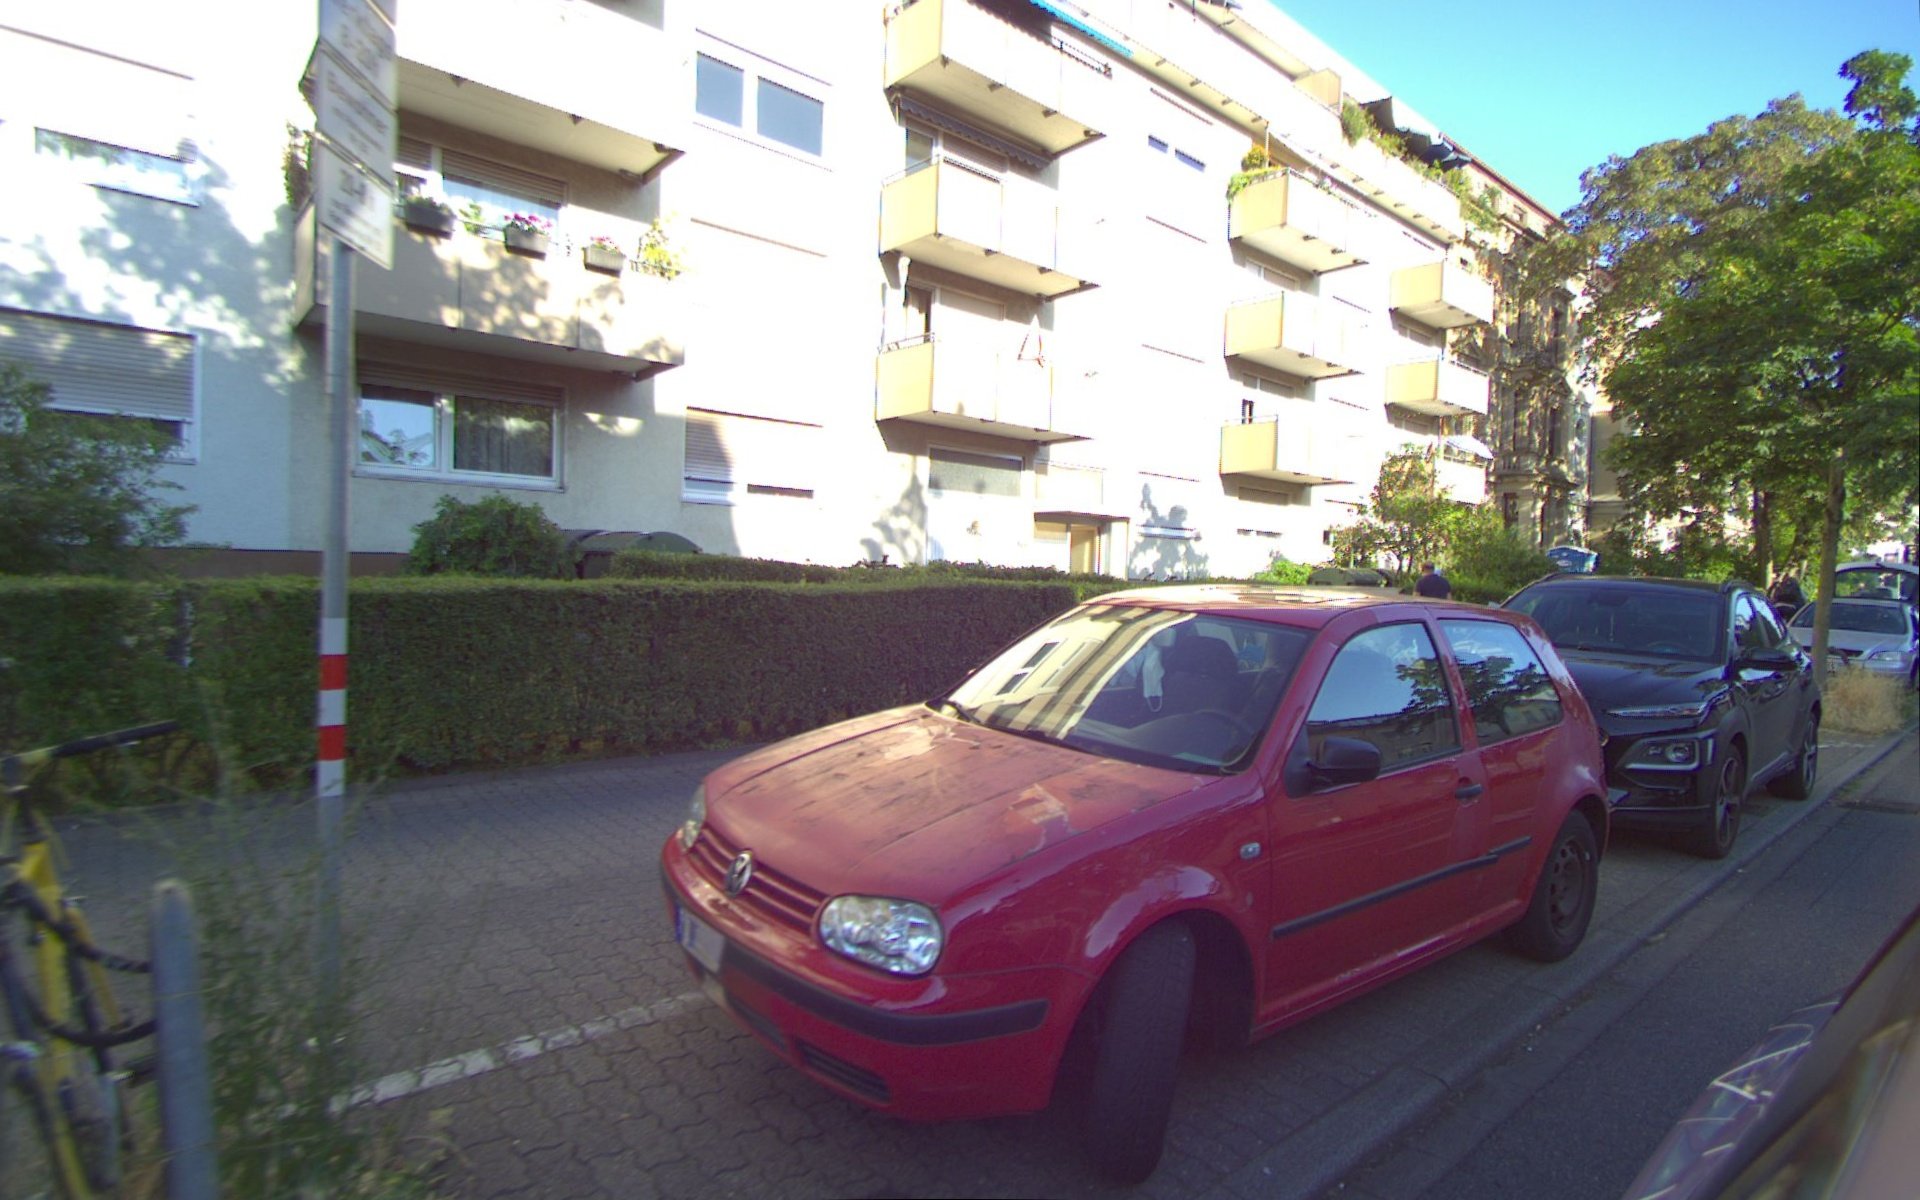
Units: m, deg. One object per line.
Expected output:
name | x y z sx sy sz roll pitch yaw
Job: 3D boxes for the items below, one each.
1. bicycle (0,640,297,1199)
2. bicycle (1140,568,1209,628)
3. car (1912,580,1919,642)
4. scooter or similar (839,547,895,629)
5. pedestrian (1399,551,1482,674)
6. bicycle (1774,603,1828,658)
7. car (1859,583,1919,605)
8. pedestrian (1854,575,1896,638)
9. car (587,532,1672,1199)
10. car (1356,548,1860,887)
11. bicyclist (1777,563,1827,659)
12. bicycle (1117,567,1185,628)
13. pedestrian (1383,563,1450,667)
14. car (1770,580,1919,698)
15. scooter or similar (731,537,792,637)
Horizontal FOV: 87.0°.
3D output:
bicycle | -1.531 0.694 1.826 0.385 1.117 1.574 0 2 -40
bicycle | 4.444 -0.081 21.115 0.507 1.154 2.210 1 2 -12
car | 27.375 0.358 27.410 4.237 1.623 1.860 0 5 -42
scooter or similar | -1.524 -0.204 16.519 0.657 1.288 0.616 0 2 -41
pedestrian | 6.732 0.157 14.202 0.743 1.660 0.696 1 2 -3
bicycle | 16.446 0.571 19.783 1.799 0.999 0.517 0 2 -41
car | 68.540 -0.449 74.167 3.868 1.523 1.550 3 3 44
pedestrian | 26.840 0.184 29.686 0.821 1.795 1.072 3 2 45
car | 0.888 0.577 3.769 3.939 1.467 1.709 0 4 -37
car | 4.594 0.529 6.945 3.944 1.600 1.859 0 4 -42
bicyclist | 16.430 0.198 19.741 0.837 1.811 0.582 0 2 -41
bicycle | 3.900 -0.079 20.822 0.507 1.154 2.210 1 2 -12
pedestrian | 7.016 0.220 15.588 0.682 1.559 0.594 1 2 -4
car | 13.999 0.506 15.533 4.195 1.498 1.712 0 4 -42
scooter or similar | -2.970 -0.204 15.145 0.657 1.459 0.616 0 2 -41
